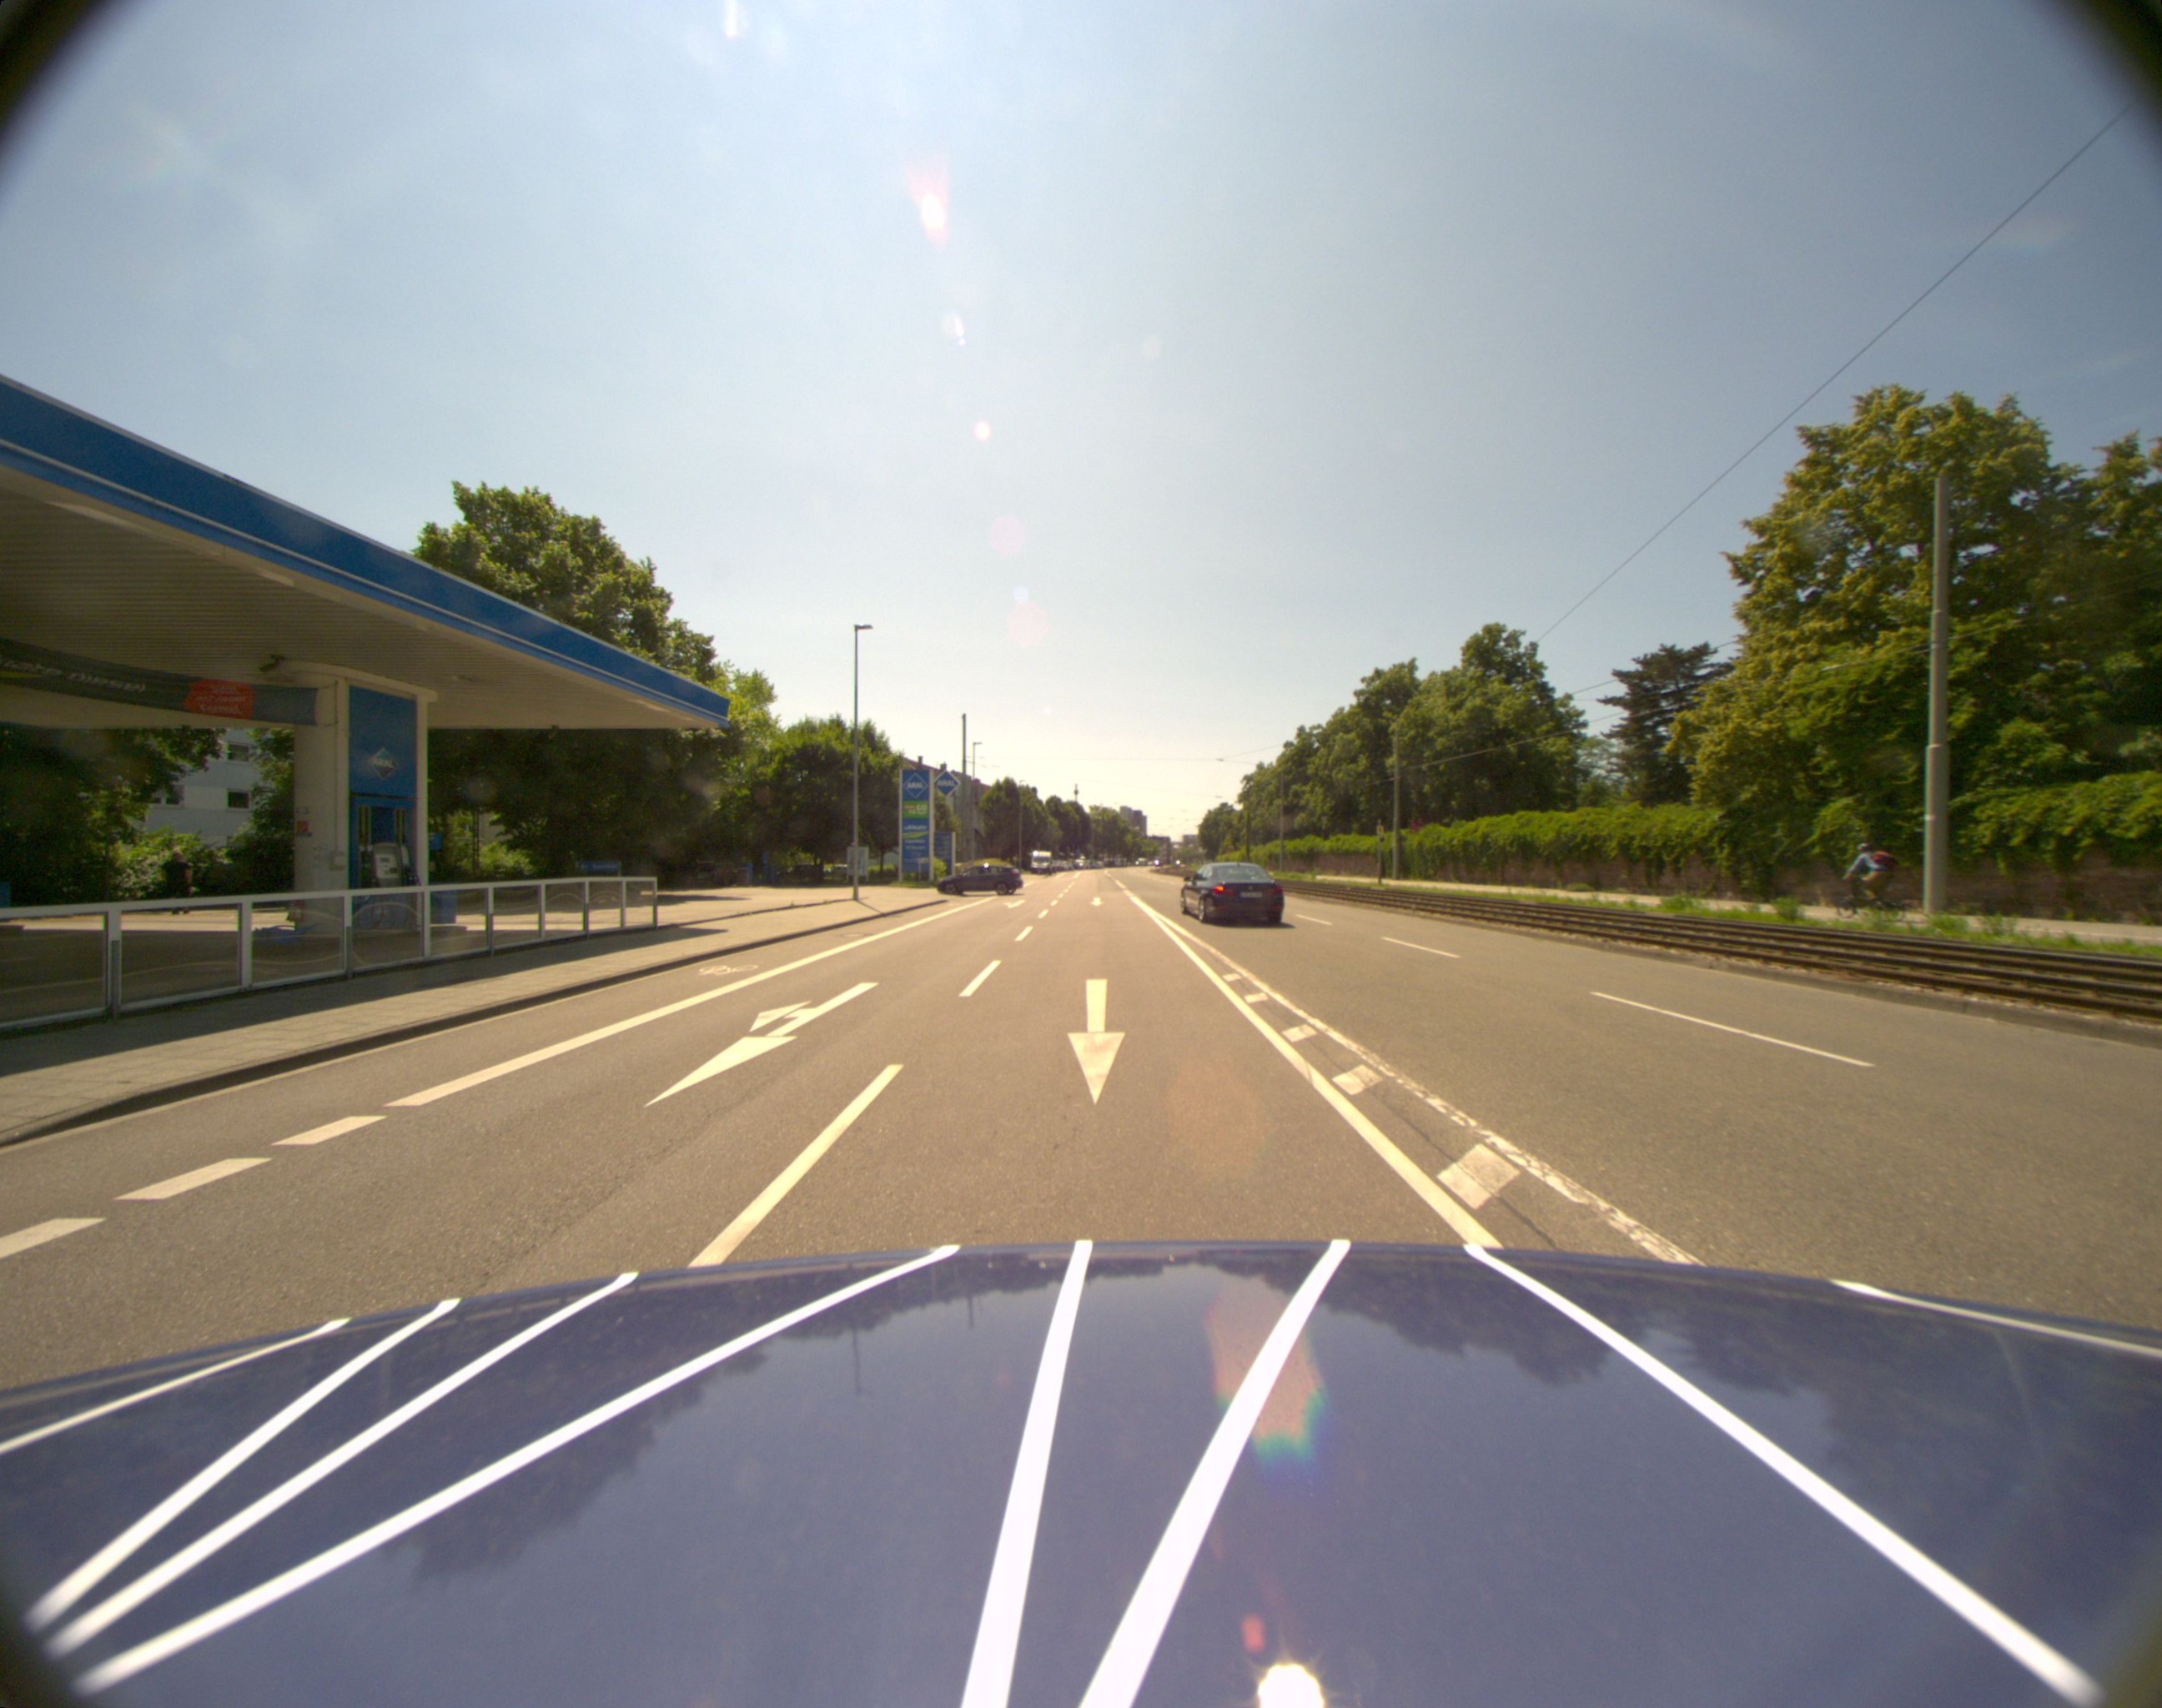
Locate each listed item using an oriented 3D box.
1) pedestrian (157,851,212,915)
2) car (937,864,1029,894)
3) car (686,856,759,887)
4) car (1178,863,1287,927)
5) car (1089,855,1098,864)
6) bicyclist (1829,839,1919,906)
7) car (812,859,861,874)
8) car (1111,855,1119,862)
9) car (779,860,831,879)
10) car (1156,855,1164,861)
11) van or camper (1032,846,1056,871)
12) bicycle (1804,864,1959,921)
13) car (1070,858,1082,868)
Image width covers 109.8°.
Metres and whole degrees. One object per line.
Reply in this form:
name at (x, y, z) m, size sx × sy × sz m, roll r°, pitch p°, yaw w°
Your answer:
pedestrian at (-26.610, 0.859, 22.574) m, size 0.626 × 1.877 × 0.837 m, roll 0°, pitch 0°, yaw 1°
car at (-4.755, 1.216, 37.253) m, size 4.136 × 1.413 × 1.720 m, roll -1°, pitch 0°, yaw 6°
car at (-21.656, 1.023, 46.157) m, size 1.997 × 1.653 × 4.411 m, roll 0°, pitch 1°, yaw 6°
car at (3.640, 0.933, 19.041) m, size 1.798 × 1.391 × 4.447 m, roll 0°, pitch 0°, yaw -1°
car at (2.485, 1.068, 150.540) m, size 1.806 × 1.585 × 4.000 m, roll 0°, pitch 0°, yaw 2°
bicyclist at (18.013, 0.415, 17.289) m, size 0.997 × 1.477 × 1.000 m, roll 0°, pitch 0°, yaw 3°
car at (-24.504, 1.266, 76.285) m, size 4.220 × 1.512 × 2.001 m, roll 0°, pitch 0°, yaw 9°
car at (8.068, 0.985, 181.213) m, size 1.998 × 1.718 × 4.000 m, roll 0°, pitch 0°, yaw 2°
car at (-25.047, 1.406, 68.874) m, size 3.992 × 1.677 × 2.002 m, roll 0°, pitch 0°, yaw 16°
car at (19.078, 1.044, 184.066) m, size 1.695 × 1.460 × 4.003 m, roll 0°, pitch 0°, yaw 10°
van or camper at (-3.942, 0.452, 81.938) m, size 2.126 × 2.469 × 5.993 m, roll 2°, pitch 0°, yaw 0°
bicycle at (18.008, 0.818, 17.232) m, size 0.830 × 1.149 × 2.686 m, roll 0°, pitch 0°, yaw 4°
car at (-0.880, 1.507, 130.560) m, size 1.725 × 1.586 × 4.001 m, roll 0°, pitch 0°, yaw 4°
